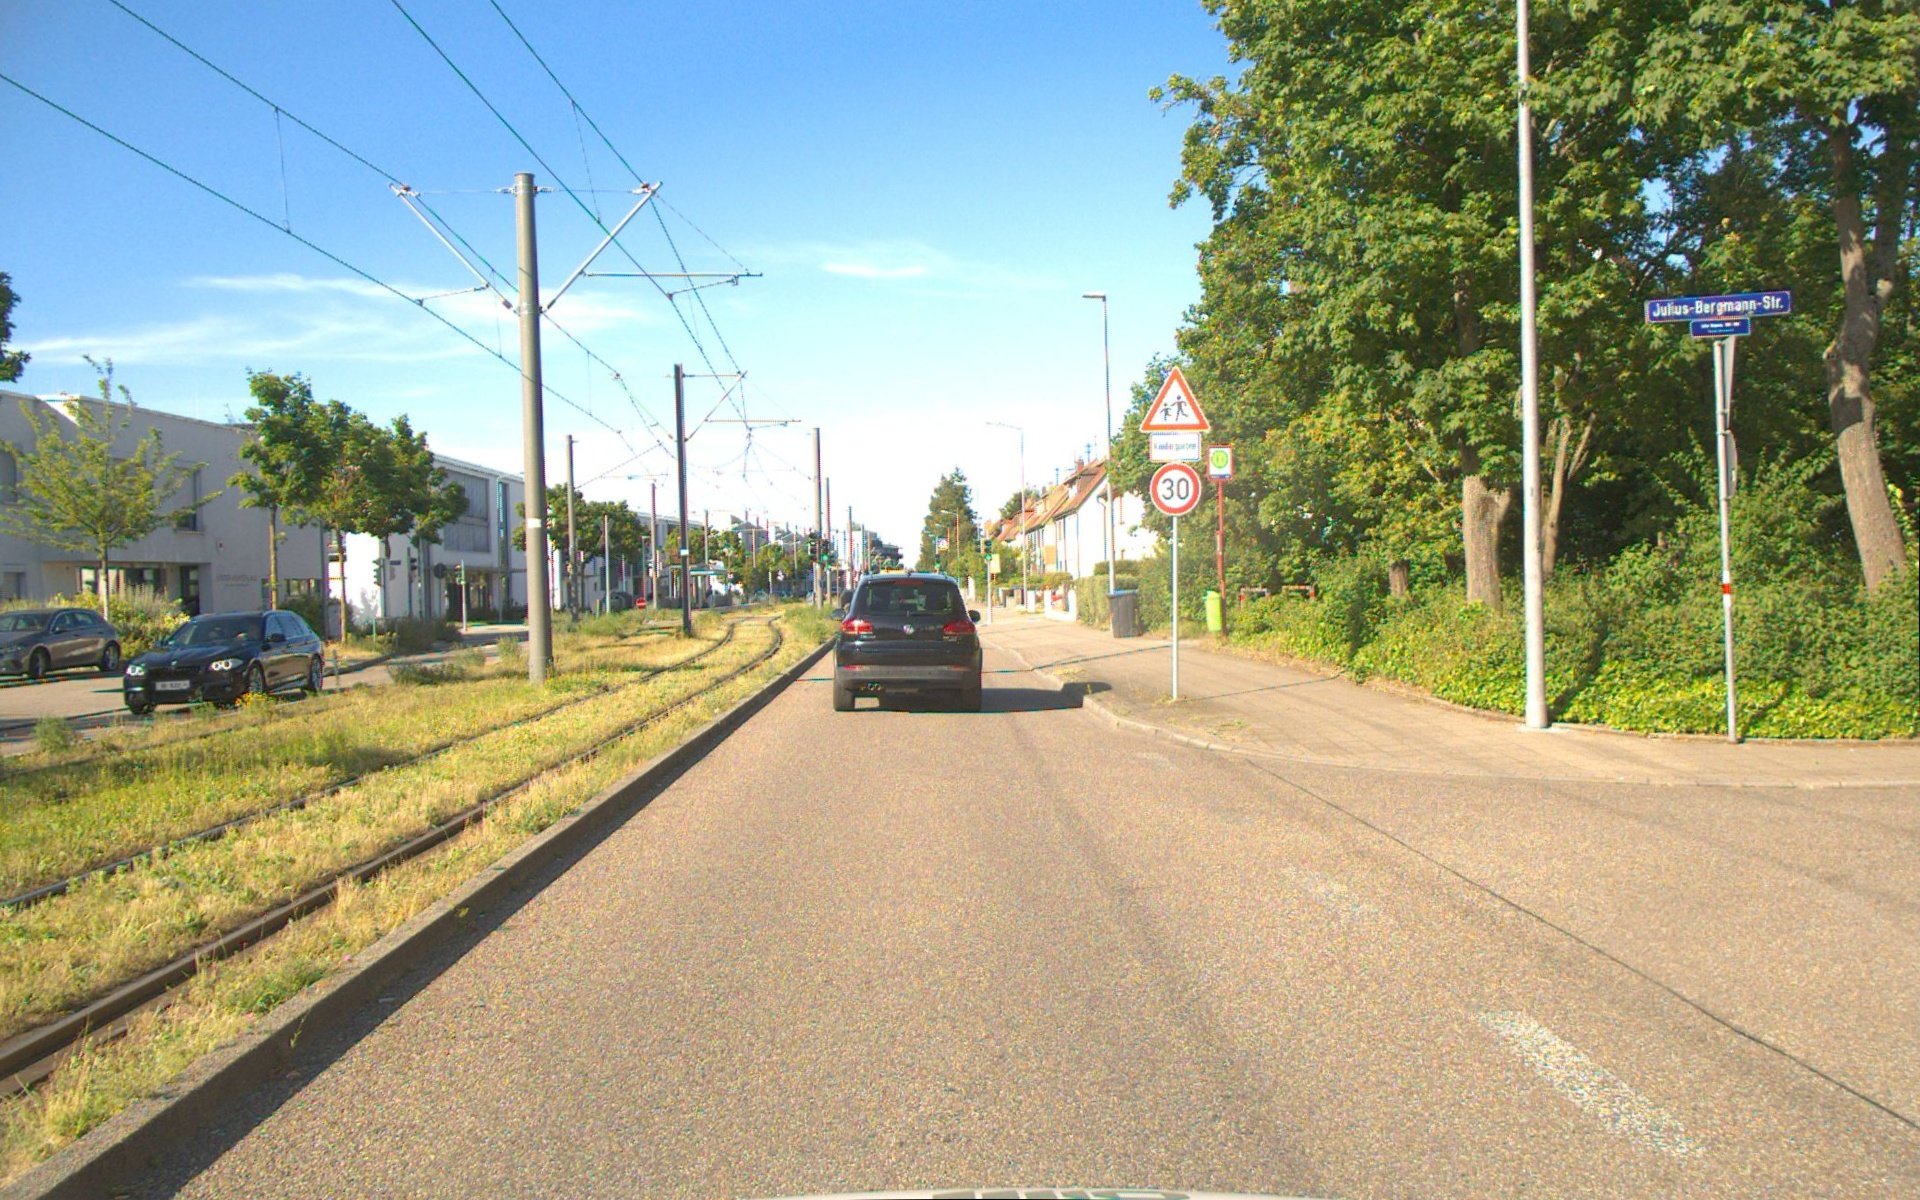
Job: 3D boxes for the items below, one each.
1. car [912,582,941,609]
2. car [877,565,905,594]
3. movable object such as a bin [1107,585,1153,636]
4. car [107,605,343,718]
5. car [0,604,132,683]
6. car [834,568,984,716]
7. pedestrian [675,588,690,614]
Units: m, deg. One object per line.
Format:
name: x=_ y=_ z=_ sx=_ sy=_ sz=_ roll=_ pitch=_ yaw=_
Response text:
car: x=-2.309 y=-0.314 z=112.669 sx=1.740 sy=1.699 sz=3.997 roll=-2 pitch=1 yaw=-4
car: x=-6.550 y=-1.977 z=158.184 sx=2.345 sy=2.609 sz=5.529 roll=-2 pitch=1 yaw=0
movable object such as a bin: x=3.981 y=0.245 z=38.839 sx=0.955 sy=1.130 sz=1.171 roll=-2 pitch=1 yaw=2
car: x=-11.611 y=0.903 z=26.531 sx=1.727 sy=1.469 sz=4.914 roll=-4 pitch=1 yaw=-3
car: x=-19.304 y=0.856 z=34.474 sx=1.773 sy=1.486 sz=4.319 roll=0 pitch=0 yaw=3
car: x=-0.714 y=0.476 z=21.200 sx=1.740 sy=1.699 sz=3.997 roll=0 pitch=0 yaw=-4
pedestrian: x=-18.023 y=0.052 z=107.374 sx=0.868 sy=1.614 sz=0.624 roll=-2 pitch=0 yaw=-20
